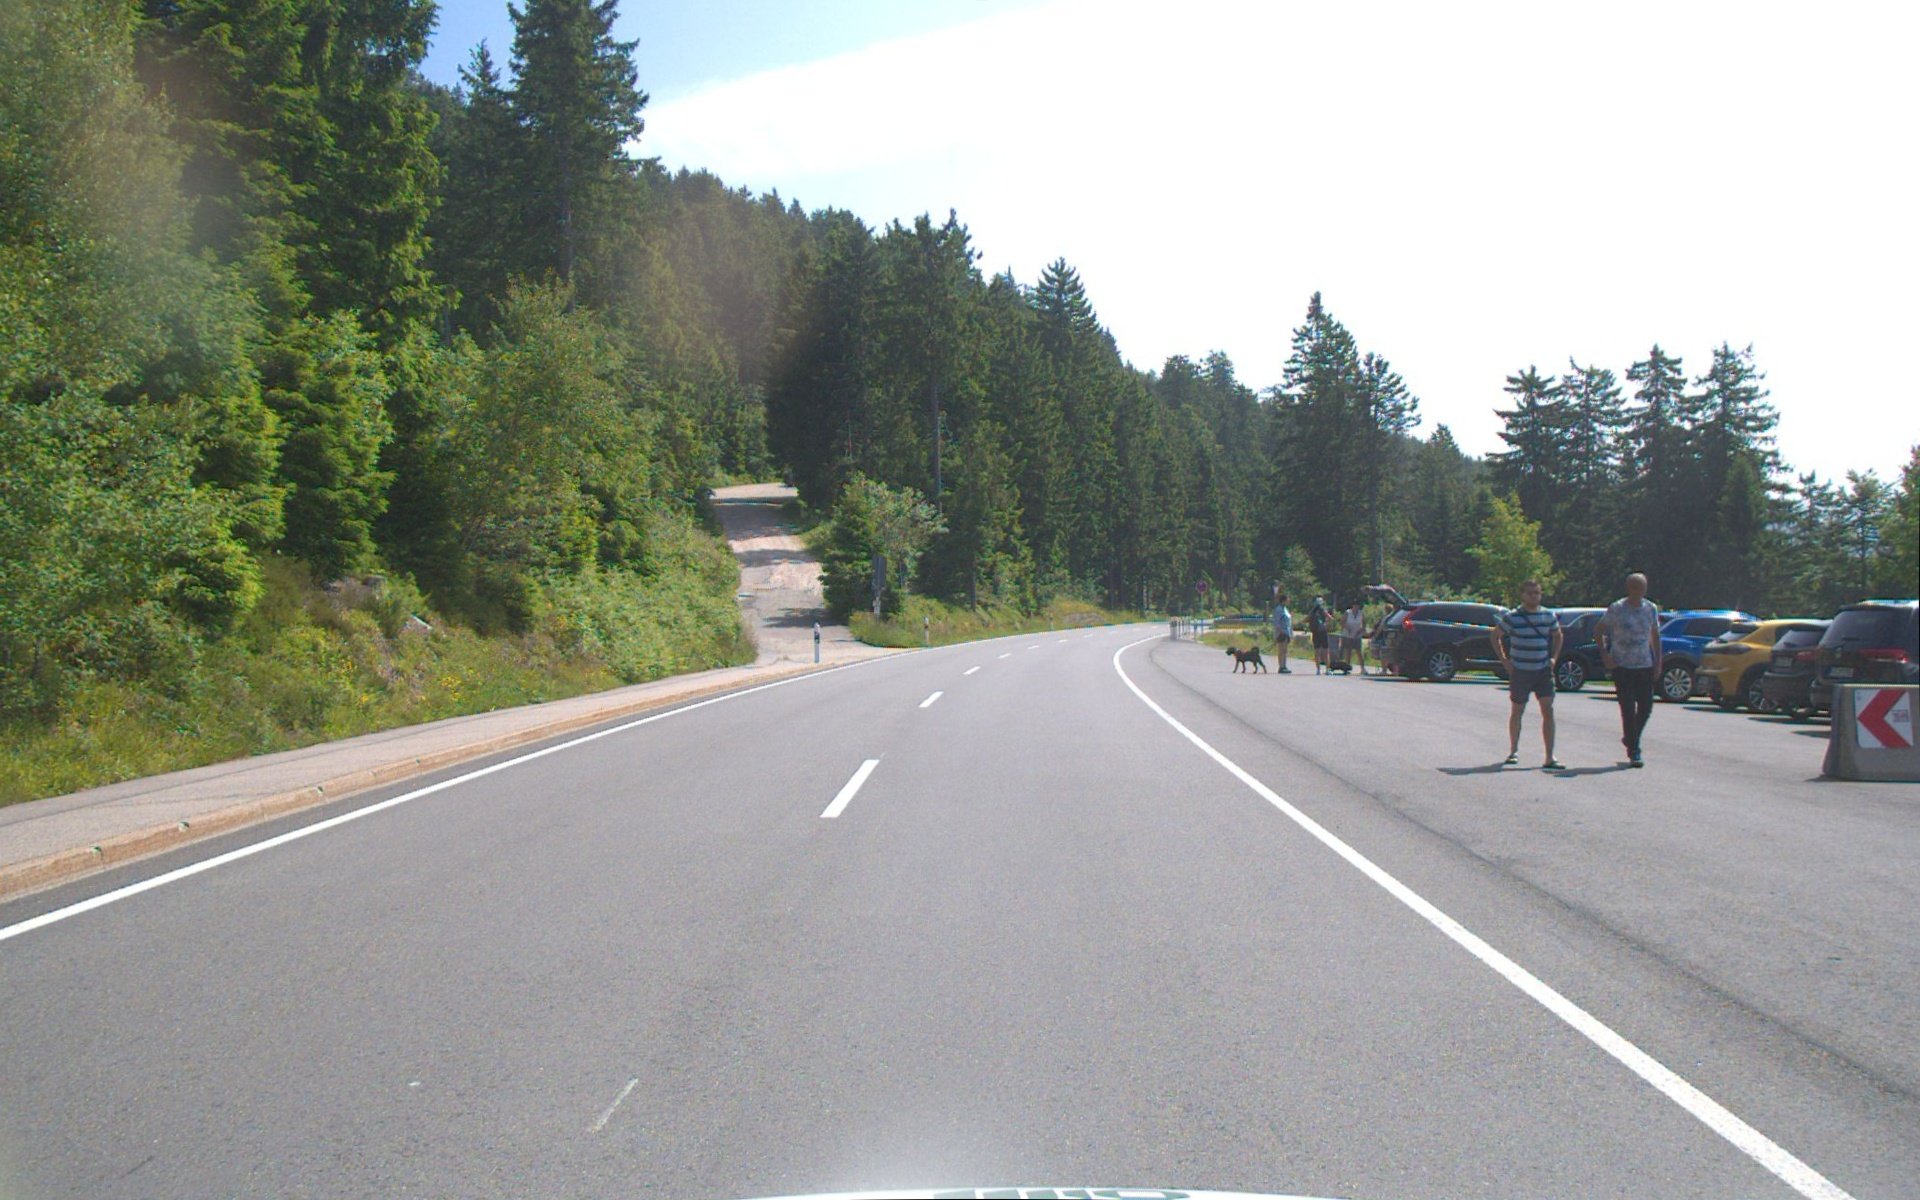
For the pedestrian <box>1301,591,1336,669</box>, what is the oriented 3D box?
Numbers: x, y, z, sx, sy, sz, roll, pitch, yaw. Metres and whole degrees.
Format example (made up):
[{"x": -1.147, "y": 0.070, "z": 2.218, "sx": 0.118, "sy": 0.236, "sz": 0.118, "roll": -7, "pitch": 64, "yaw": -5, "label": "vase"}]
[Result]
[{"x": 8.066, "y": 0.667, "z": 37.238, "sx": 0.700, "sy": 1.722, "sz": 0.619, "roll": 0, "pitch": 0, "yaw": 7, "label": "pedestrian"}]

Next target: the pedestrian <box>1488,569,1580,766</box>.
[{"x": 5.376, "y": 0.612, "z": 15.521, "sx": 0.737, "sy": 1.791, "sz": 0.776, "roll": 0, "pitch": 0, "yaw": 14, "label": "pedestrian"}]

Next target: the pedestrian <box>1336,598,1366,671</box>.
[{"x": 9.205, "y": 0.804, "z": 38.947, "sx": 0.638, "sy": 1.689, "sz": 0.688, "roll": -1, "pitch": 1, "yaw": 13, "label": "pedestrian"}]

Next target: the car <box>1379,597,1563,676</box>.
[{"x": 11.872, "y": 0.836, "z": 38.533, "sx": 3.741, "sy": 1.690, "sz": 1.651, "roll": 2, "pitch": 0, "yaw": -4, "label": "car"}]

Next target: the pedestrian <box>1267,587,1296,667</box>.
[{"x": 7.339, "y": 0.600, "z": 37.723, "sx": 0.604, "sy": 1.806, "sz": 0.724, "roll": 0, "pitch": 0, "yaw": 8, "label": "pedestrian"}]

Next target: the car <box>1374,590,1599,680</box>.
[{"x": 11.198, "y": 0.729, "z": 35.360, "sx": 4.178, "sy": 1.825, "sz": 1.892, "roll": 0, "pitch": 1, "yaw": -2, "label": "car"}]

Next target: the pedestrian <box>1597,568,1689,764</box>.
[{"x": 6.367, "y": 0.597, "z": 15.453, "sx": 0.650, "sy": 1.771, "sz": 0.895, "roll": 0, "pitch": 0, "yaw": 14, "label": "pedestrian"}]

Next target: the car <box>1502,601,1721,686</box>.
[{"x": 12.647, "y": 0.826, "z": 32.209, "sx": 3.679, "sy": 1.595, "sz": 1.598, "roll": 0, "pitch": 0, "yaw": -6, "label": "car"}]

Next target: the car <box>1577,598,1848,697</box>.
[{"x": 13.120, "y": 0.814, "z": 28.977, "sx": 3.907, "sy": 1.562, "sz": 1.806, "roll": 0, "pitch": 3, "yaw": -3, "label": "car"}]

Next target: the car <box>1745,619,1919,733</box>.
[{"x": 13.453, "y": 1.096, "z": 23.309, "sx": 3.915, "sy": 1.461, "sz": 1.763, "roll": 3, "pitch": 0, "yaw": 0, "label": "car"}]

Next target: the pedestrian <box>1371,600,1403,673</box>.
[{"x": 9.688, "y": 0.832, "z": 37.511, "sx": 0.604, "sy": 1.615, "sz": 0.735, "roll": -1, "pitch": 1, "yaw": 20, "label": "pedestrian"}]

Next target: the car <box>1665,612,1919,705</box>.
[{"x": 13.430, "y": 0.892, "z": 25.943, "sx": 3.905, "sy": 1.376, "sz": 1.987, "roll": 0, "pitch": 0, "yaw": 0, "label": "car"}]

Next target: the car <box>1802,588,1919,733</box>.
[{"x": 12.614, "y": 0.769, "z": 20.154, "sx": 3.908, "sy": 1.675, "sz": 1.599, "roll": 2, "pitch": 0, "yaw": -3, "label": "car"}]
